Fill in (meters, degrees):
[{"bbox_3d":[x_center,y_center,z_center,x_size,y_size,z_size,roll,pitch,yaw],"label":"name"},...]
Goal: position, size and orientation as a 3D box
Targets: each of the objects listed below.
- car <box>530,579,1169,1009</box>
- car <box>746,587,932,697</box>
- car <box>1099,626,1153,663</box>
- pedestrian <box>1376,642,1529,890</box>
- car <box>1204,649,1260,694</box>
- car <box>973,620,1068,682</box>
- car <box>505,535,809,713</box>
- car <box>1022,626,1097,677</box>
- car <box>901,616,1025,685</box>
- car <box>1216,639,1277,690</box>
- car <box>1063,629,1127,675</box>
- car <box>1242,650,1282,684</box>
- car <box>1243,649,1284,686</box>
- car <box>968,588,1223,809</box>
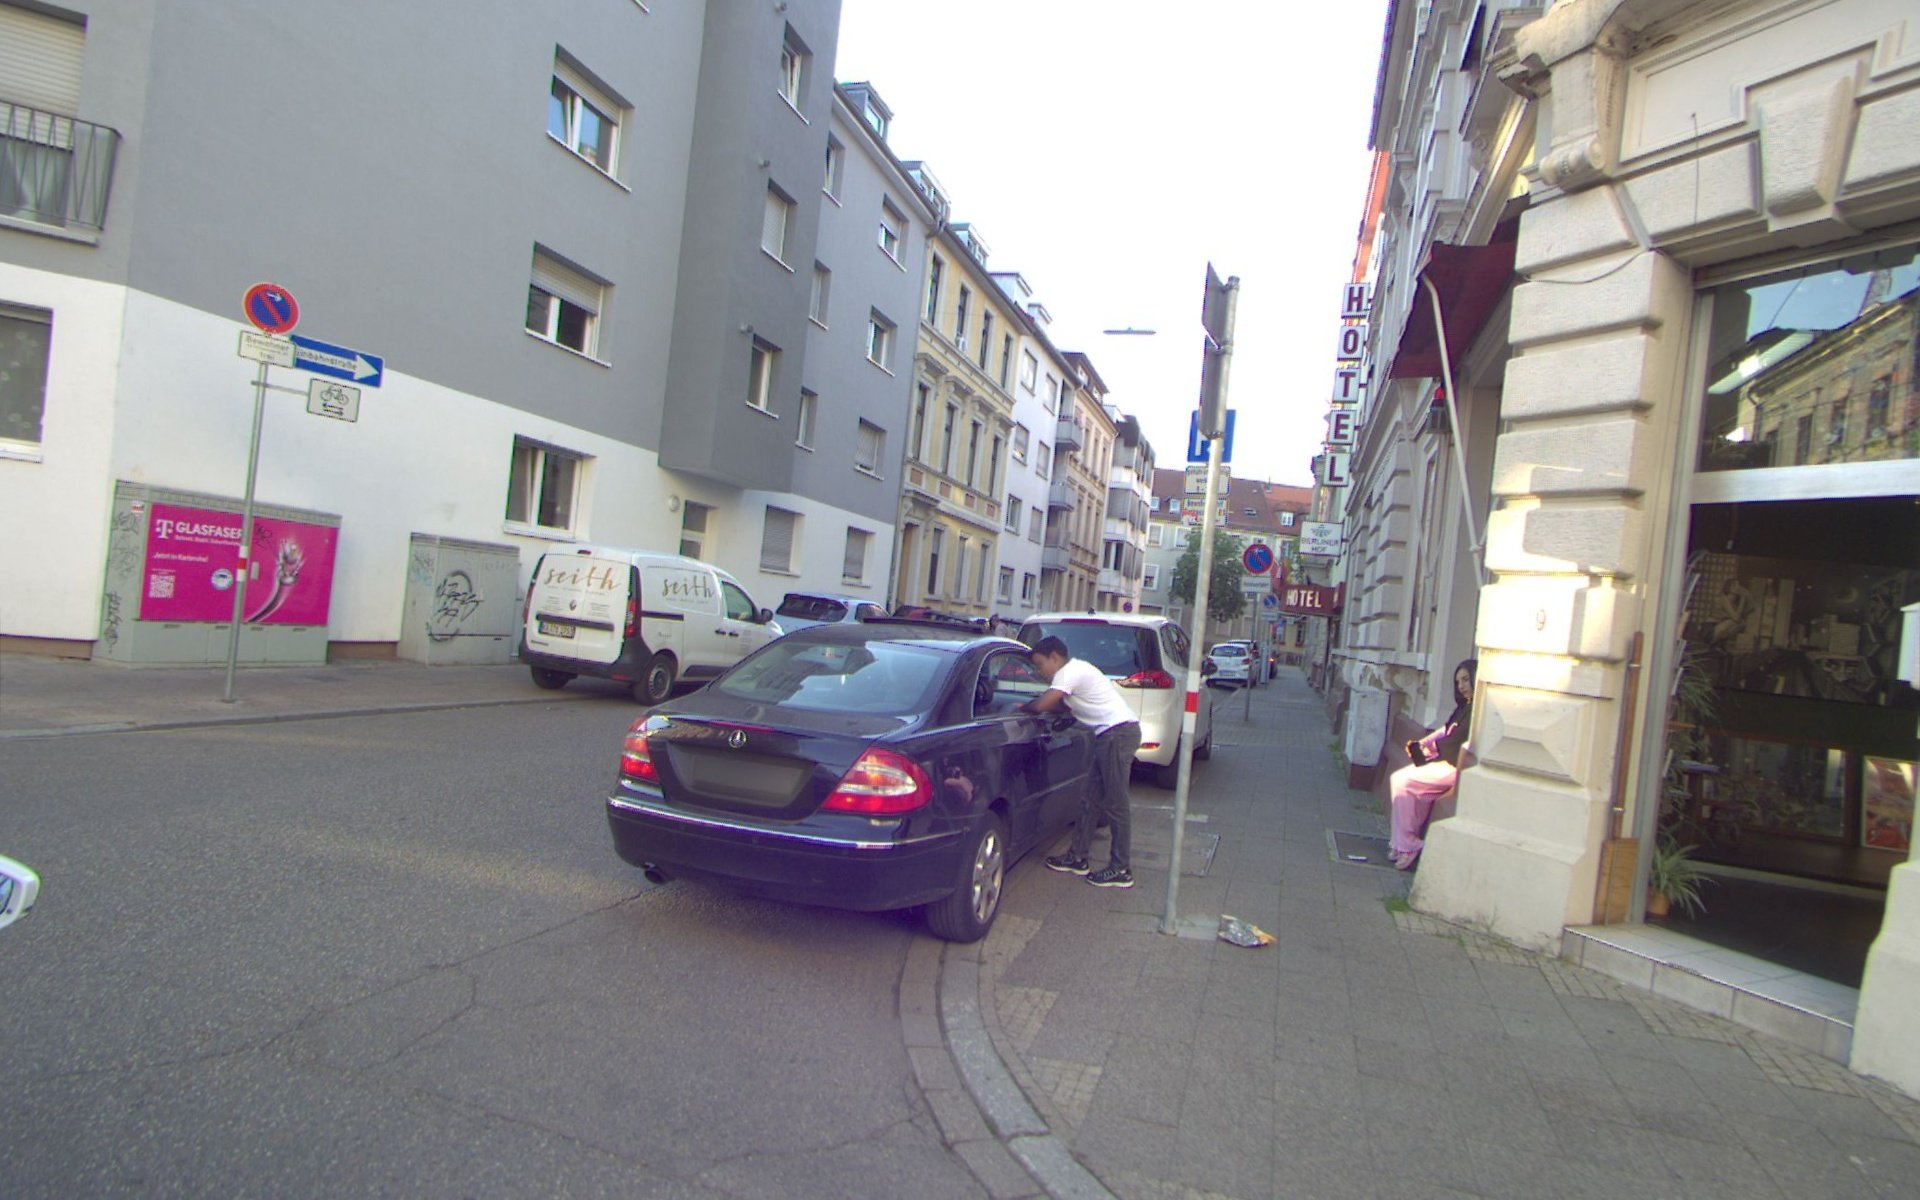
[{"bbox_3d":[-0.104,0.836,6.269,1.855,1.425,4.728,6,-1,22],"label":"car"},{"bbox_3d":[-2.022,0.726,18.249,1.735,1.583,4.367,6,0,15],"label":"car"},{"bbox_3d":[8.733,2.360,52.670,1.963,1.682,3.978,6,-1,20],"label":"car"},{"bbox_3d":[3.262,1.070,6.729,0.703,1.489,0.580,6,0,19],"label":"pedestrian"},{"bbox_3d":[9.557,2.463,35.184,1.637,1.476,3.759,0,-2,19],"label":"car"},{"bbox_3d":[1.864,1.503,29.764,1.701,1.527,3.831,6,0,19],"label":"car"},{"bbox_3d":[-3.755,0.342,13.342,1.605,1.836,4.186,6,0,18],"label":"car"},{"bbox_3d":[3.467,1.761,34.629,1.605,1.490,3.754,6,0,19],"label":"car"},{"bbox_3d":[0.178,1.254,24.283,1.657,1.347,4.134,6,-2,19],"label":"car"},{"bbox_3d":[11.803,2.618,41.247,1.963,1.753,4.060,6,-1,20],"label":"car"},{"bbox_3d":[5.457,2.070,40.333,1.589,1.589,4.304,6,0,19],"label":"car"},{"bbox_3d":[18.341,4.038,60.984,1.963,1.782,4.001,6,-1,20],"label":"car"},{"bbox_3d":[16.914,3.738,55.932,1.962,1.729,4.002,6,-1,18],"label":"car"},{"bbox_3d":[1.728,0.958,11.111,1.788,1.745,4.461,6,0,19],"label":"car"}]
